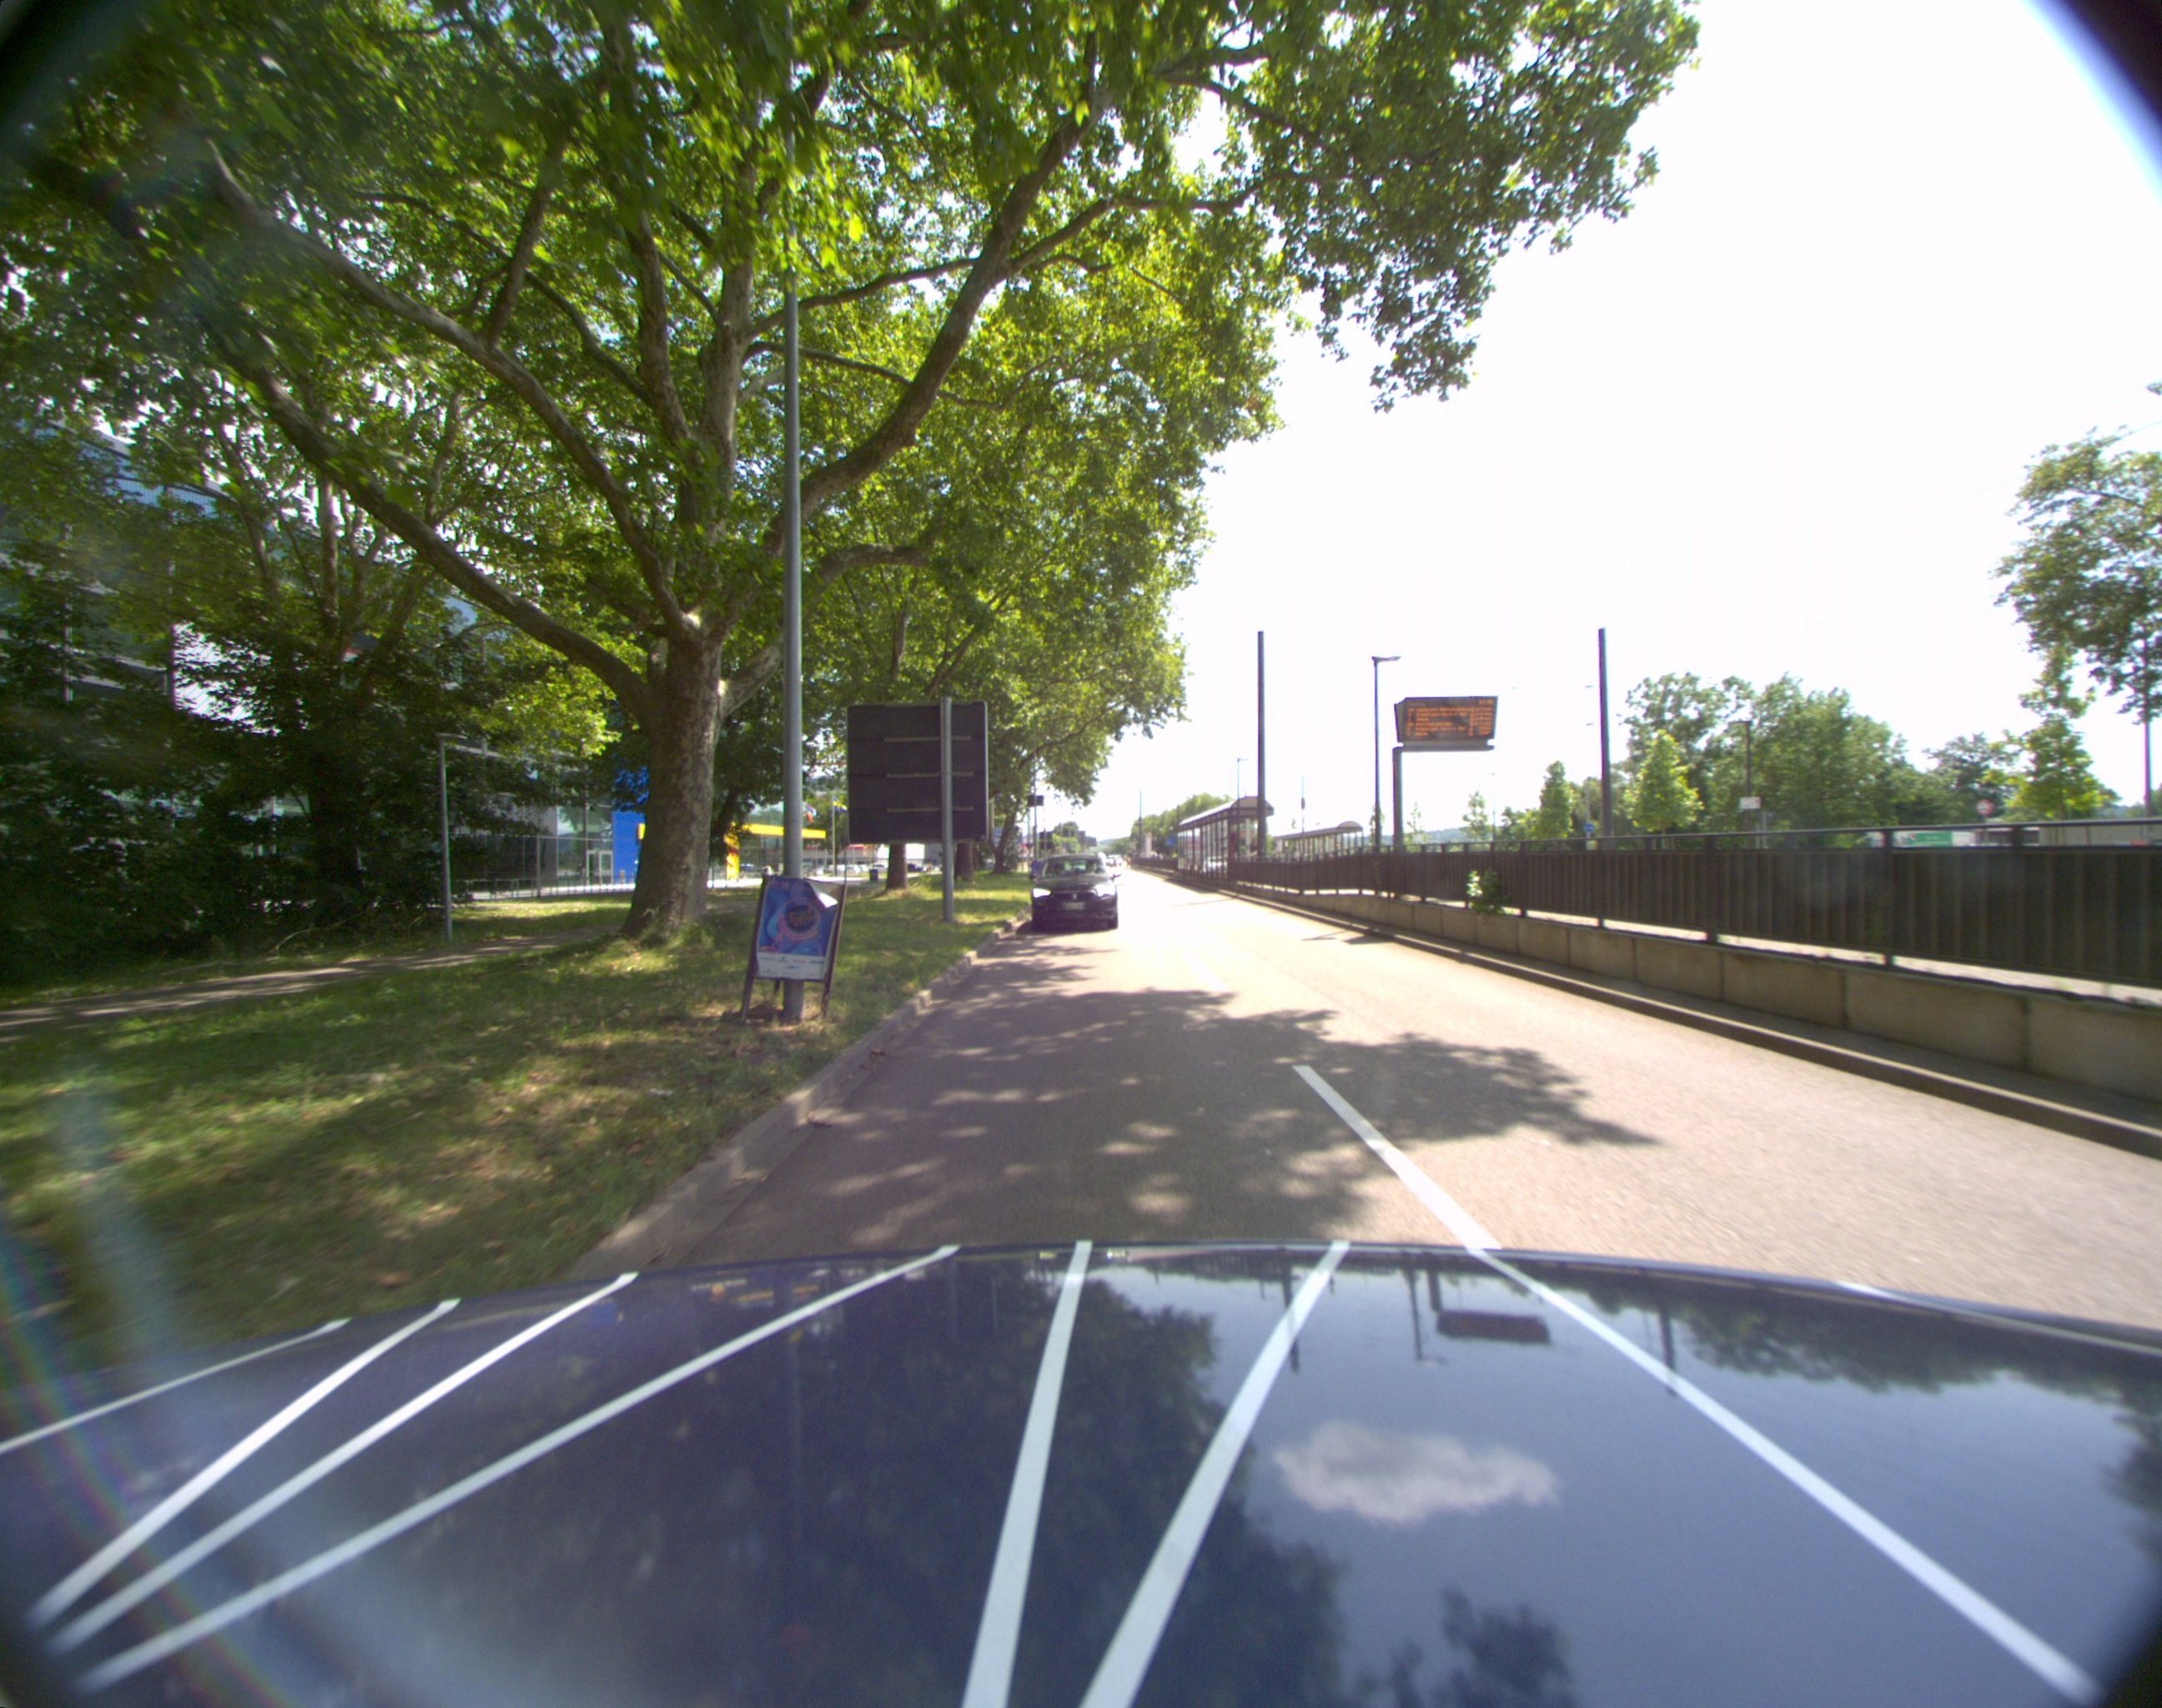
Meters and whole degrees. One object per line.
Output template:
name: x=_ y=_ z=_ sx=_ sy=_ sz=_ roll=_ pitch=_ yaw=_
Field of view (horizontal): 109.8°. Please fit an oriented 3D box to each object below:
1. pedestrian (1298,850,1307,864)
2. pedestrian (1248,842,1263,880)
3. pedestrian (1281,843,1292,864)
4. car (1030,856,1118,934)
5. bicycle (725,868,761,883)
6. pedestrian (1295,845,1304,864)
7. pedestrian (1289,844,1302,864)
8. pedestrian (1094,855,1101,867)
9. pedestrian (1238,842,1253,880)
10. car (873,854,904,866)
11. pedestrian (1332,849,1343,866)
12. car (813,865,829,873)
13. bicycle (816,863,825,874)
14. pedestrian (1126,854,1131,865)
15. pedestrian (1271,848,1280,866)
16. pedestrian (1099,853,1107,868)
pedestrian: x=17.820 y=0.258 z=61.103 sx=0.578 sy=1.088 sz=0.639 roll=-1 pitch=0 yaw=1
pedestrian: x=6.984 y=0.272 z=30.480 sx=0.396 sy=1.499 sz=0.417 roll=-2 pitch=2 yaw=-40
pedestrian: x=17.632 y=-0.041 z=65.199 sx=0.736 sy=1.719 sz=0.579 roll=-1 pitch=0 yaw=38
car: x=-0.097 y=0.868 z=18.115 sx=1.819 sy=1.583 sz=4.000 roll=-2 pitch=0 yaw=1
bicycle: x=-23.748 y=1.480 z=53.383 sx=2.065 sy=0.963 sz=0.868 roll=-2 pitch=0 yaw=-3
pedestrian: x=18.106 y=0.061 z=62.976 sx=0.578 sy=1.524 sz=0.639 roll=-1 pitch=0 yaw=1
pedestrian: x=18.002 y=0.002 z=63.750 sx=0.826 sy=1.629 sz=0.579 roll=-1 pitch=0 yaw=38
pedestrian: x=2.175 y=0.960 z=101.754 sx=0.787 sy=1.563 sz=0.764 roll=-2 pitch=1 yaw=-2
pedestrian: x=6.682 y=0.283 z=30.786 sx=0.396 sy=1.499 sz=0.417 roll=-2 pitch=2 yaw=-40
car: x=-28.727 y=0.873 z=113.617 sx=4.079 sy=1.630 sz=2.000 roll=-1 pitch=1 yaw=-1
pedestrian: x=17.941 y=0.232 z=53.148 sx=0.578 sy=1.183 sz=0.639 roll=-1 pitch=0 yaw=1
car: x=-52.812 y=3.097 z=154.440 sx=1.853 sy=1.537 sz=3.999 roll=-2 pitch=0 yaw=-2
bicycle: x=-31.104 y=1.727 z=90.766 sx=0.803 sy=1.138 sz=2.430 roll=-2 pitch=1 yaw=-12
pedestrian: x=6.036 y=0.693 z=96.711 sx=0.615 sy=1.337 sz=0.720 roll=-2 pitch=1 yaw=-1
pedestrian: x=18.050 y=0.270 z=70.425 sx=0.558 sy=1.628 sz=0.806 roll=-2 pitch=0 yaw=-6
pedestrian: x=2.838 y=0.844 z=96.590 sx=0.865 sy=1.791 sz=0.883 roll=-2 pitch=1 yaw=-3
